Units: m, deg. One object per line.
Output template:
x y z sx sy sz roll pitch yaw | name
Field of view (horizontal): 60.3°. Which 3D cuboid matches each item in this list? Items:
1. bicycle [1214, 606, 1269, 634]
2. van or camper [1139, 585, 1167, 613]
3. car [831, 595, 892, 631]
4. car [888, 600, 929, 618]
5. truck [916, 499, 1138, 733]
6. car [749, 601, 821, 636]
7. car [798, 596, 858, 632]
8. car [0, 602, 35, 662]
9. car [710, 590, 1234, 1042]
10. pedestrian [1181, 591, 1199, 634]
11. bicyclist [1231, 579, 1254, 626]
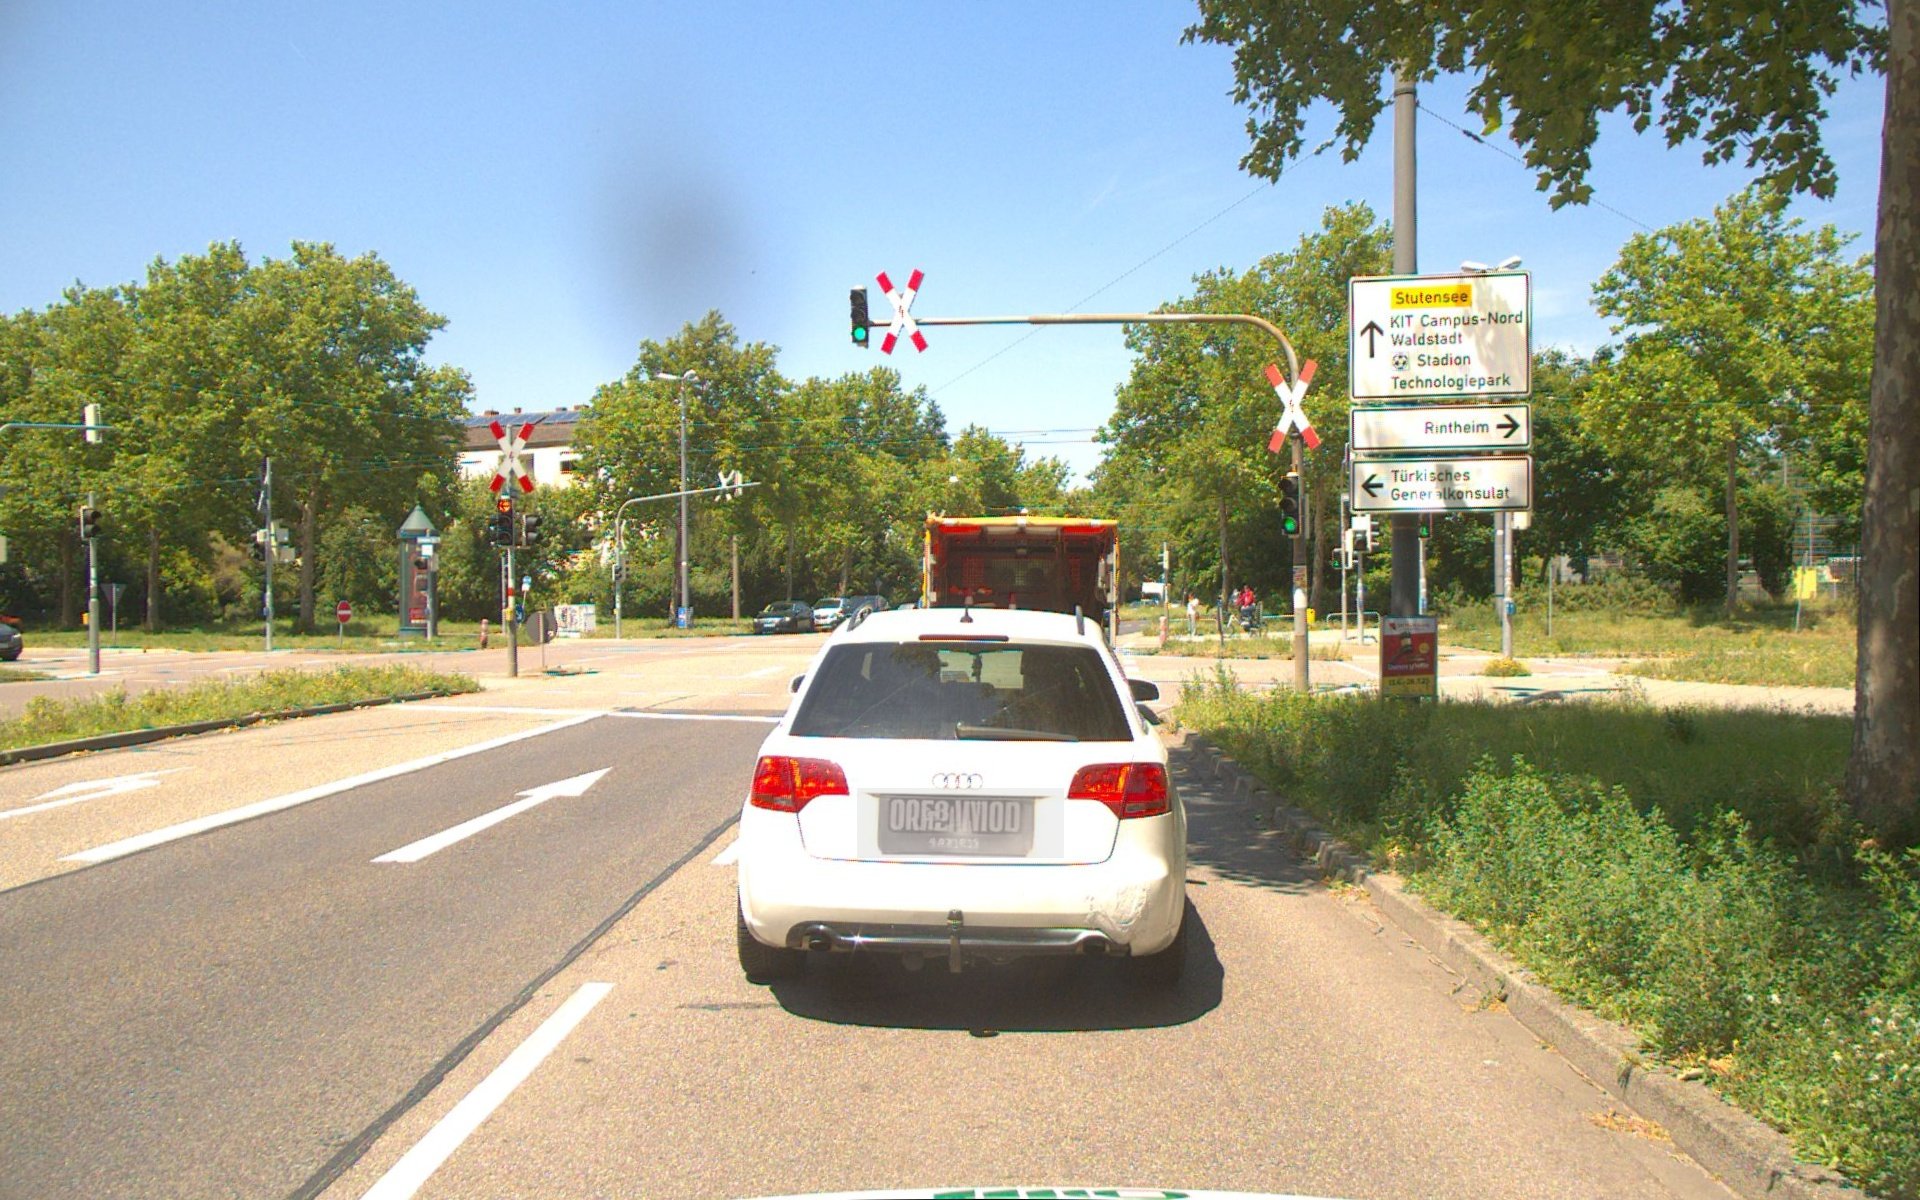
9.538 0.674 55.994 1.768 0.911 0.589 0 0 1 | bicycle
23.534 -0.103 201.545 2.604 3.389 5.505 0 0 14 | van or camper
-4.382 0.557 74.035 1.868 1.566 4.302 -1 0 8 | car
-4.331 0.760 139.121 1.844 1.417 3.997 0 0 26 | car
0.912 0.185 22.494 2.459 2.604 7.605 1 0 2 | truck
-7.722 0.802 73.428 1.907 1.465 4.751 0 1 10 | car
-6.385 0.659 80.619 1.749 1.643 4.408 -1 0 11 | car
-25.306 0.804 41.724 3.907 1.483 1.760 -1 0 32 | car
0.139 0.701 7.279 1.725 1.470 3.617 0 0 3 | car
8.127 0.447 58.438 0.541 1.510 0.630 -1 0 16 | pedestrian
9.560 0.077 55.993 0.657 1.583 0.579 -1 0 1 | bicyclist
